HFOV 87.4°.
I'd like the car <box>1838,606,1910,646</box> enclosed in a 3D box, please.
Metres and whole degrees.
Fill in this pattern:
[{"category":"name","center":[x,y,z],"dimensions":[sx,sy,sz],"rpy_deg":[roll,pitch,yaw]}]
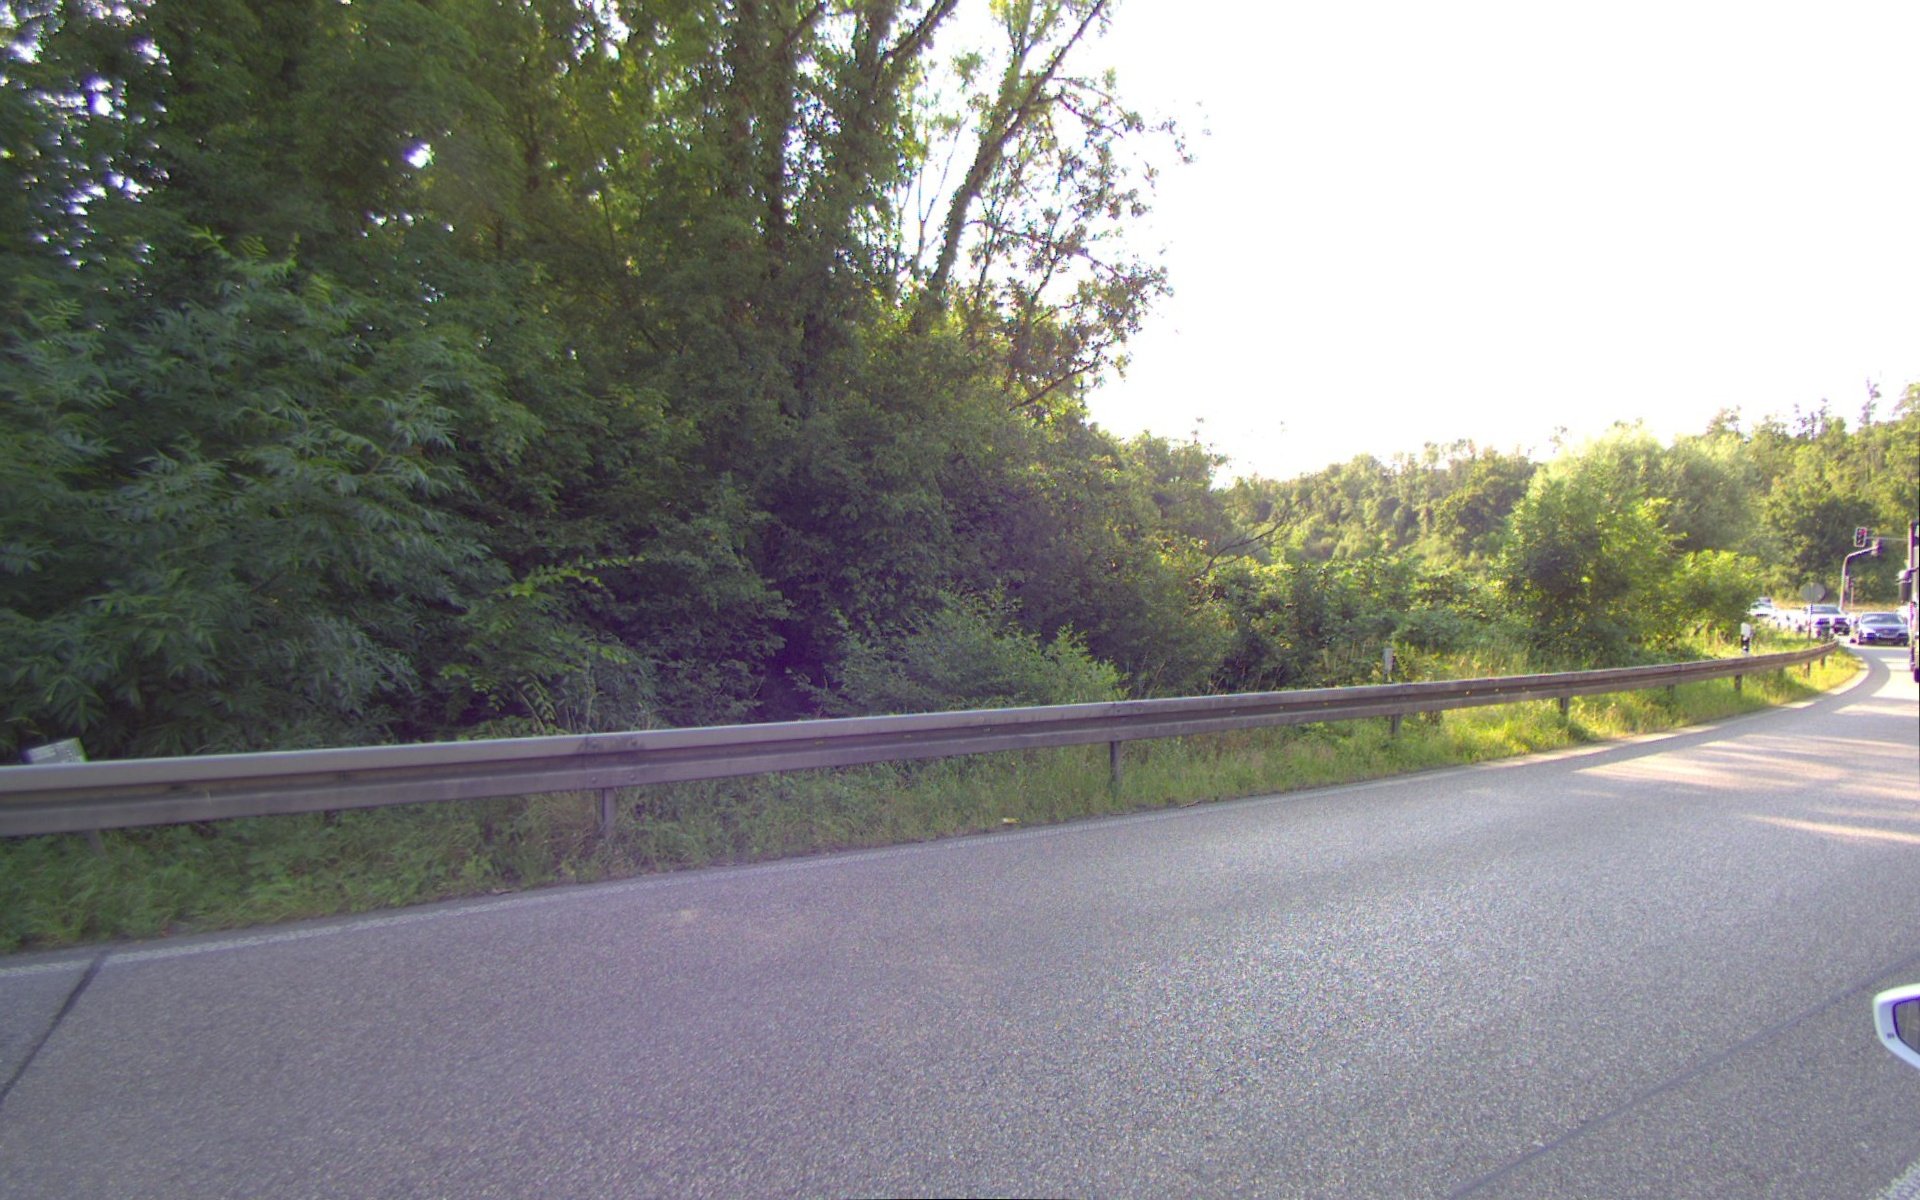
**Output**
[{"category":"car","center":[40.487,1.099,44.584],"dimensions":[1.843,1.577,3.986],"rpy_deg":[4,2,36]}]

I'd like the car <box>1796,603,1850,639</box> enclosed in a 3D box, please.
[{"category":"car","center":[48.328,1.144,56.301],"dimensions":[1.843,1.876,3.986],"rpy_deg":[4,2,36]}]

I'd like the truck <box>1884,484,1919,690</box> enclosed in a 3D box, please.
[{"category":"truck","center":[25.844,-0.179,25.647],"dimensions":[2.978,4.646,10.187],"rpy_deg":[2,0,41]}]

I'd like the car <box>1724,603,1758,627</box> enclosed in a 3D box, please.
[{"category":"car","center":[64.955,1.254,83.508],"dimensions":[1.847,1.876,3.977],"rpy_deg":[4,2,43]}]

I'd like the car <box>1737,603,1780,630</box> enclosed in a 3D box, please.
[{"category":"car","center":[58.950,1.202,74.203],"dimensions":[1.841,1.876,3.991],"rpy_deg":[3,2,31]}]
